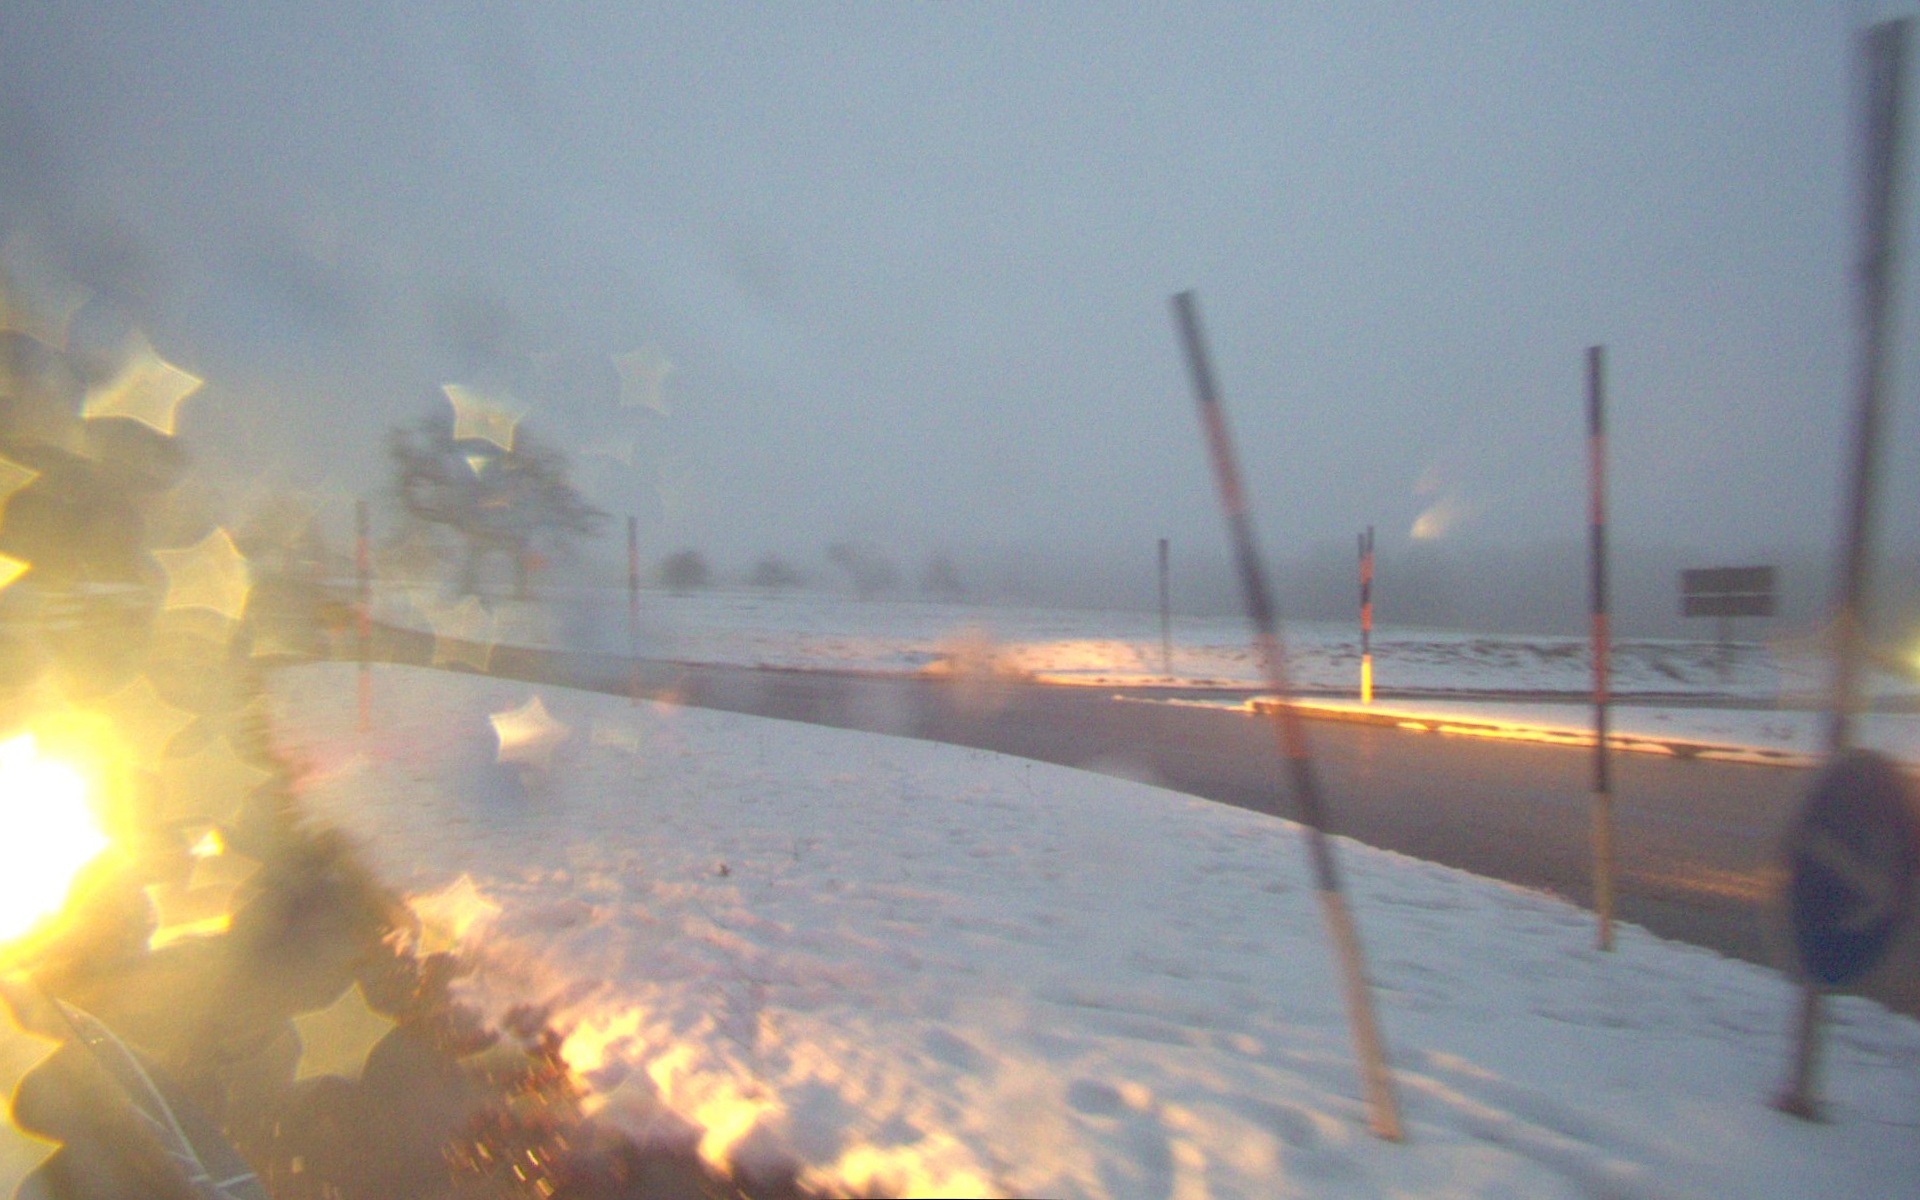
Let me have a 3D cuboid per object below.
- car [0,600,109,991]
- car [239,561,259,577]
[{"bbox_3d":[-5.225,0.736,4.802,1.700,1.445,3.681,0,0,-42],"label":"car"},{"bbox_3d":[-85.068,-3.707,121.069,1.967,1.820,4.010,0,1,-36],"label":"car"}]
